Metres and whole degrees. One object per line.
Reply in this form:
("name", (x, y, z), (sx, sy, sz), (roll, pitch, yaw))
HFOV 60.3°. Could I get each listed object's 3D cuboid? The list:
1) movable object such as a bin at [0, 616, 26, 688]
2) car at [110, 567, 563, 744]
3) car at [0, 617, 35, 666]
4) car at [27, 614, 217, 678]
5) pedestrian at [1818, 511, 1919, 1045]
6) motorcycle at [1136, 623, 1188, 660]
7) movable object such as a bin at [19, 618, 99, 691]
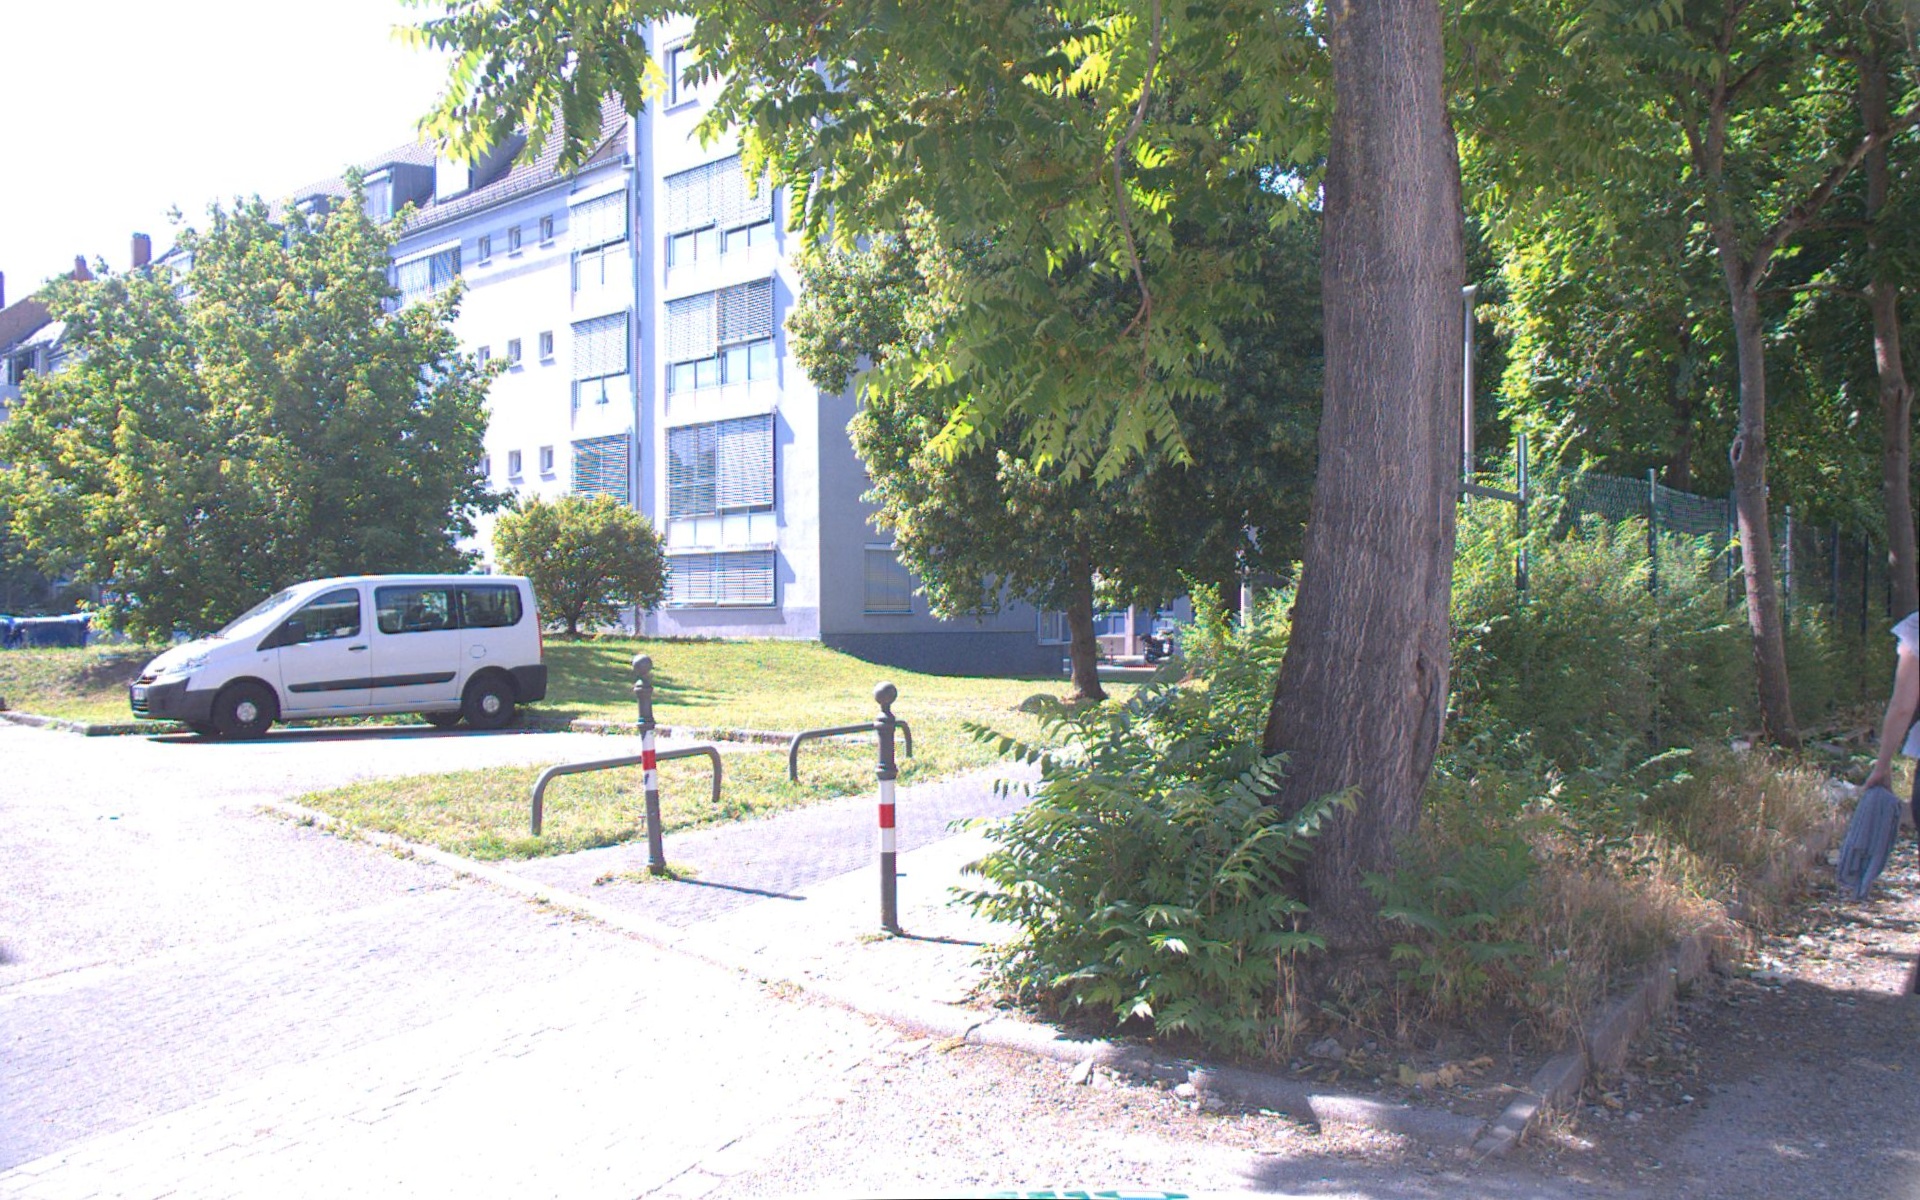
("movable object such as a bin", (-18.678, 1.031, 31.632), (1.239, 1.342, 1.127), (-3, 0, -38))
("car", (-7.712, 0.621, 20.734), (4.990, 1.967, 1.972), (0, -1, -39))
("car", (-33.184, 1.415, 54.659), (4.209, 1.559, 1.968), (-2, 1, -43))
("car", (-21.080, 1.131, 41.692), (3.967, 1.452, 1.783), (-1, 0, -43))
("pedestrian", (3.291, 0.548, 5.460), (0.720, 1.668, 0.781), (-1, 1, 22))
("motorcycle", (7.225, 1.477, 59.060), (2.042, 1.268, 0.621), (0, 0, -39))
("movable object such as a bin", (-17.632, 1.044, 32.365), (1.238, 1.364, 1.127), (-1, 0, -37))
